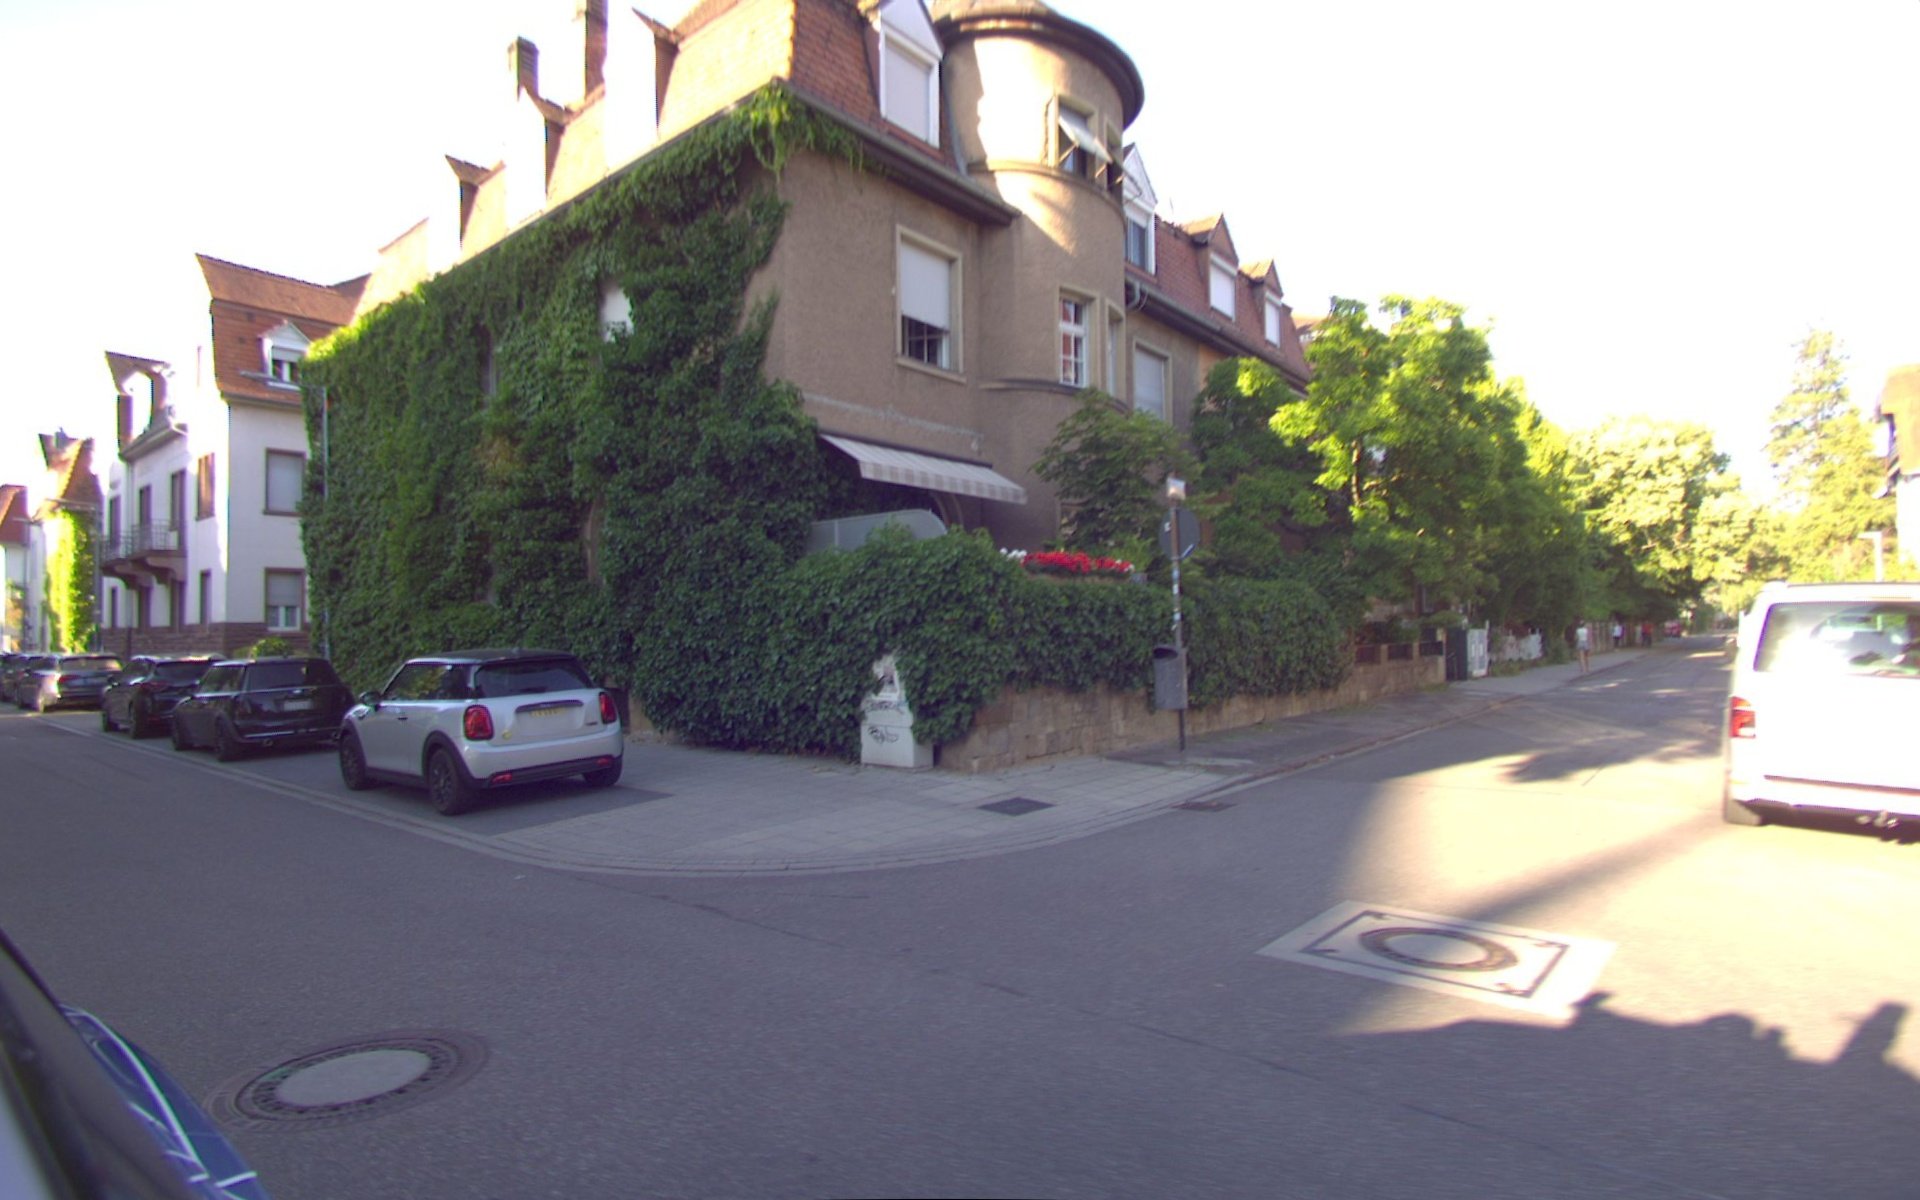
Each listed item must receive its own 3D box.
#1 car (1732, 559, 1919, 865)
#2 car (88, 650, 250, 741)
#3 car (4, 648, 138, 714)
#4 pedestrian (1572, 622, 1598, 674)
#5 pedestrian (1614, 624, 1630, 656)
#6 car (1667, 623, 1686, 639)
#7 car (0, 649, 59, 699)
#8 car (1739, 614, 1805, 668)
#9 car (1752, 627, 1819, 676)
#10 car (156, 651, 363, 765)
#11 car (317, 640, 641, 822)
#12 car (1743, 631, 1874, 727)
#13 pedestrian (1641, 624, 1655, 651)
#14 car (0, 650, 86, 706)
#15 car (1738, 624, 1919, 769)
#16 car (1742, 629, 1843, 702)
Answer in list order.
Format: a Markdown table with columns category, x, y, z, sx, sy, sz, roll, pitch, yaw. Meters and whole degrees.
| category | x | y | z | sx | sy | sz | roll | pitch | yaw |
| --- | --- | --- | --- | --- | --- | --- | --- | --- | --- |
| car | 7.733 | 0.783 | 8.451 | 1.997 | 2.029 | 4.358 | 0 | -1 | 38 |
| car | -14.729 | 1.698 | 18.770 | 4.096 | 1.431 | 1.632 | -3 | -2 | 41 |
| car | -22.903 | 2.045 | 26.009 | 4.771 | 1.472 | 1.775 | -3 | -1 | 39 |
| pedestrian | 22.108 | 1.699 | 35.807 | 0.662 | 1.793 | 0.582 | -2 | -3 | 38 |
| pedestrian | 37.271 | 2.229 | 57.012 | 0.662 | 1.793 | 0.582 | -2 | -3 | 38 |
| car | 83.247 | 3.620 | 117.537 | 1.690 | 1.852 | 3.834 | -2 | -3 | 35 |
| car | -30.676 | 2.387 | 32.892 | 3.762 | 1.497 | 1.636 | -3 | -2 | 41 |
| car | 31.639 | 1.562 | 39.506 | 1.912 | 1.963 | 4.144 | 0 | -1 | 38 |
| car | 27.809 | 1.693 | 34.181 | 1.663 | 1.479 | 4.144 | 0 | -1 | 38 |
| car | -10.455 | 1.508 | 15.021 | 3.719 | 1.390 | 1.669 | -3 | -2 | 41 |
| car | -5.132 | 1.215 | 10.557 | 3.916 | 1.471 | 1.686 | -3 | -2 | 42 |
| car | 15.302 | 1.336 | 18.416 | 1.663 | 1.479 | 4.144 | 0 | -1 | 38 |
| pedestrian | 45.366 | 2.456 | 66.739 | 0.662 | 1.793 | 0.582 | -2 | -3 | 38 |
| car | -27.342 | 2.270 | 29.902 | 3.839 | 1.458 | 1.637 | -3 | -1 | 39 |
| car | 11.602 | 1.135 | 13.433 | 1.997 | 1.600 | 4.251 | 0 | -1 | 38 |
| car | 19.188 | 1.443 | 23.447 | 1.663 | 1.479 | 4.144 | 0 | -1 | 38 |
